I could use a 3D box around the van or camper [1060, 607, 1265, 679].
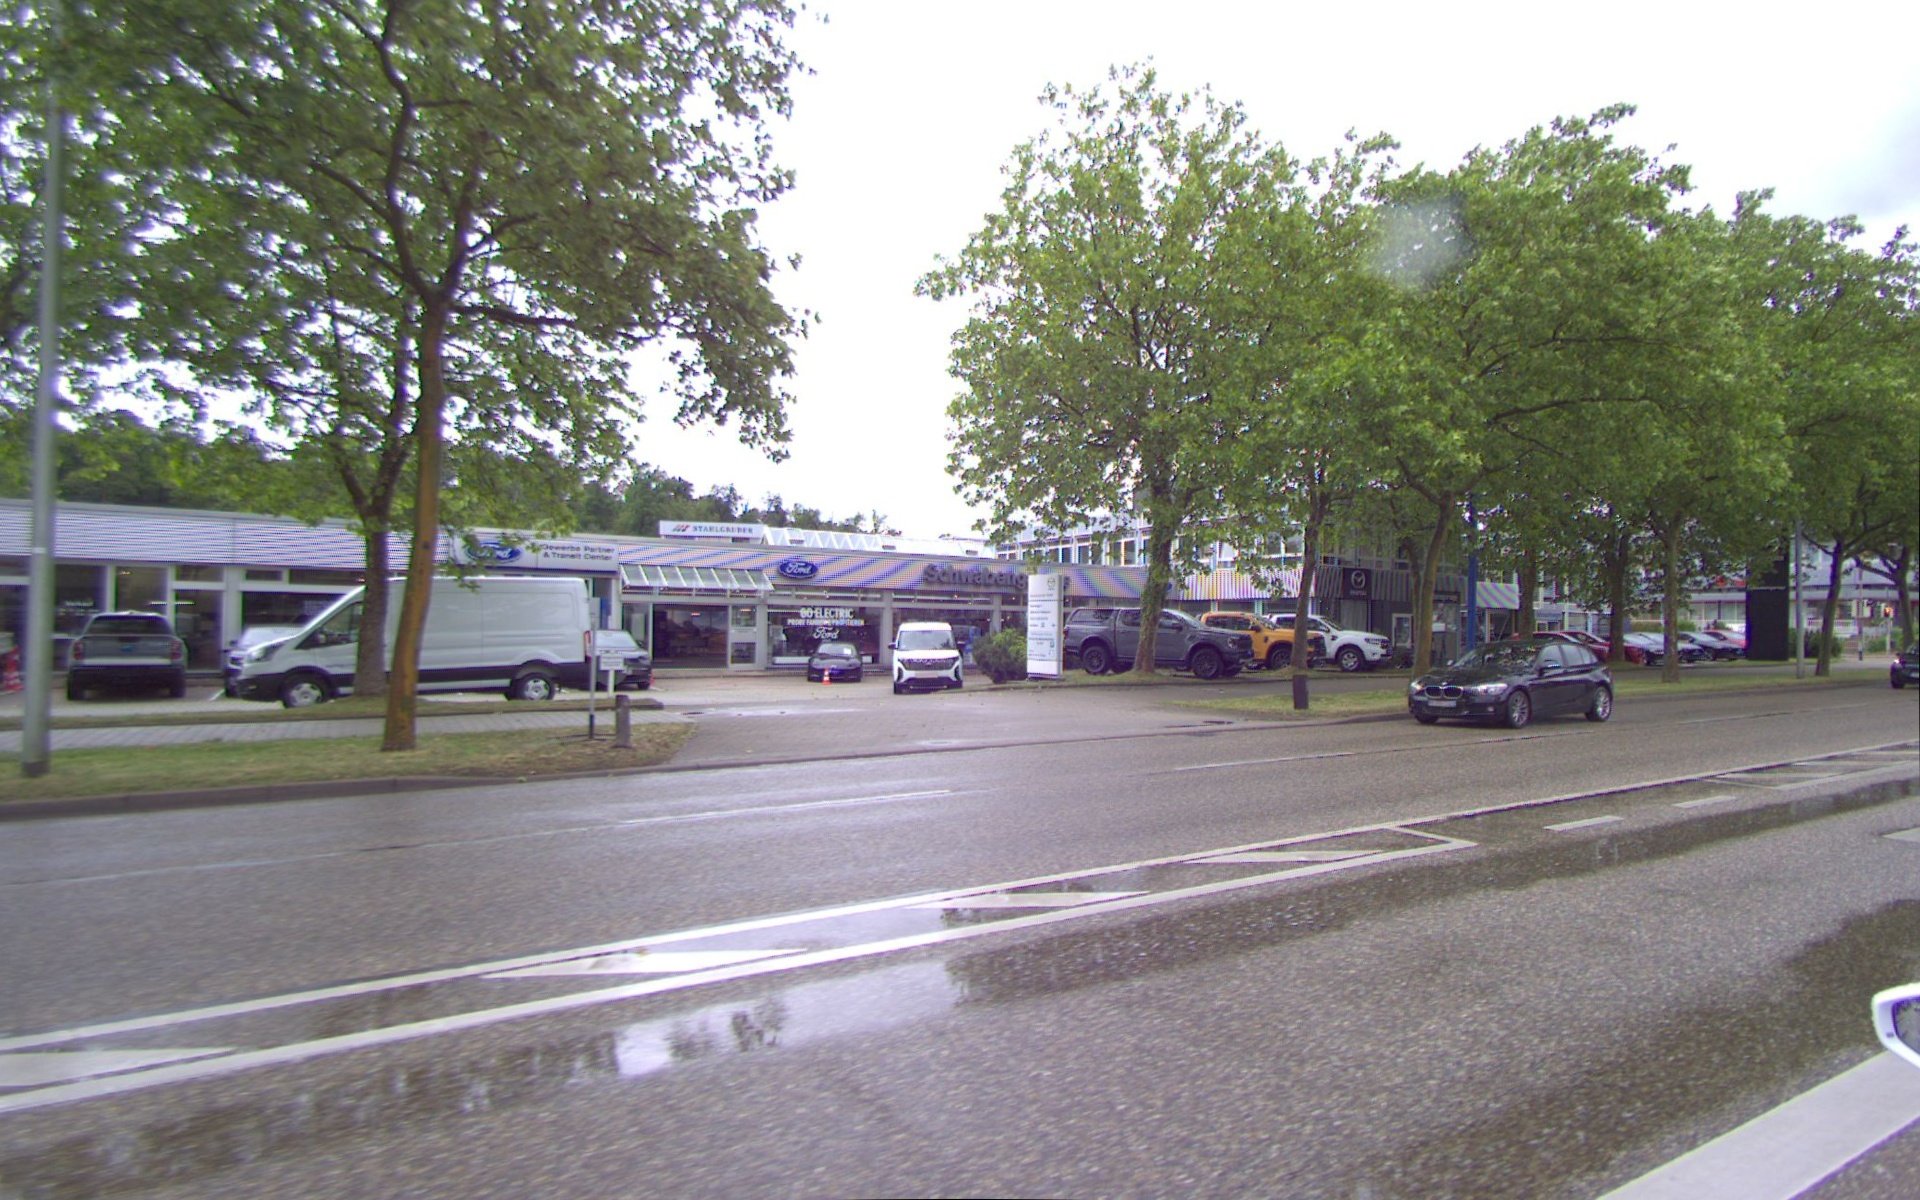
[{"bbox_3d":[5.630,1.173,28.238,5.212,1.845,2.260,-1,-2,35],"label":"van or camper"}]

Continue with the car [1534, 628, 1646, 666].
[{"bbox_3d":[28.704,2.153,45.783,4.165,1.674,2.005,-2,-3,37],"label":"car"}]

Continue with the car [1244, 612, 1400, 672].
[{"bbox_3d":[11.705,1.325,32.643,4.398,1.840,1.992,-1,-2,38],"label":"car"}]

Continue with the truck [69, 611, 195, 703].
[{"bbox_3d":[-18.437,1.204,22.446,1.983,1.862,3.955,2,-2,-39],"label":"truck"}]

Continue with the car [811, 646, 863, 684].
[{"bbox_3d":[-4.091,2.105,33.288,1.599,1.109,3.996,1,-2,-7],"label":"car"}]

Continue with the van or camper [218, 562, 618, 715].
[{"bbox_3d":[-9.965,0.683,18.976,6.331,2.503,1.982,1,0,-33],"label":"van or camper"}]

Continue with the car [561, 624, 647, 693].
[{"bbox_3d":[-9.818,1.565,27.959,1.833,1.790,3.989,1,-1,-14],"label":"car"}]

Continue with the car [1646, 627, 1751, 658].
[{"bbox_3d":[37.761,2.144,51.452,1.860,1.508,3.954,1,-2,-34],"label":"car"}]

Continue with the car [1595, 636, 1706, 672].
[{"bbox_3d":[32.374,2.541,47.150,4.165,1.617,1.993,-2,-3,37],"label":"car"}]

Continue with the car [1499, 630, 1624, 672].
[{"bbox_3d":[26.154,2.171,43.739,4.497,1.617,1.992,1,-1,38],"label":"car"}]

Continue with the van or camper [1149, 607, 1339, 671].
[{"bbox_3d":[8.775,1.209,31.237,5.290,1.792,2.098,-1,-5,38],"label":"van or camper"}]

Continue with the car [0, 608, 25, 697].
[{"bbox_3d":[-21.325,1.095,20.471,2.390,1.928,5.344,1,-2,-33],"label":"car"}]

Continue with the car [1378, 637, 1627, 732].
[{"bbox_3d":[9.353,1.365,17.215,4.486,1.448,1.728,1,-3,-31],"label":"car"}]

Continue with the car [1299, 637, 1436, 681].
[{"bbox_3d":[14.853,2.094,36.646,4.390,1.469,1.996,-1,-2,32],"label":"car"}]

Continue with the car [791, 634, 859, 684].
[{"bbox_3d":[-4.496,1.892,33.030,1.574,1.487,3.893,1,-2,-18],"label":"car"}]

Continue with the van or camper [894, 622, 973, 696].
[{"bbox_3d":[-0.791,1.519,26.975,1.804,1.808,4.644,0,-1,-5],"label":"van or camper"}]

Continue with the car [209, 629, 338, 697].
[{"bbox_3d":[-16.391,1.444,24.187,2.008,1.480,3.973,1,-2,-27],"label":"car"}]

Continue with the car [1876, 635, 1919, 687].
[{"bbox_3d":[28.901,1.776,29.670,4.040,1.484,1.701,1,-3,-32],"label":"car"}]

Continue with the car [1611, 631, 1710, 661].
[{"bbox_3d":[35.033,2.263,50.299,1.673,1.409,3.716,1,-2,-34],"label":"car"}]
